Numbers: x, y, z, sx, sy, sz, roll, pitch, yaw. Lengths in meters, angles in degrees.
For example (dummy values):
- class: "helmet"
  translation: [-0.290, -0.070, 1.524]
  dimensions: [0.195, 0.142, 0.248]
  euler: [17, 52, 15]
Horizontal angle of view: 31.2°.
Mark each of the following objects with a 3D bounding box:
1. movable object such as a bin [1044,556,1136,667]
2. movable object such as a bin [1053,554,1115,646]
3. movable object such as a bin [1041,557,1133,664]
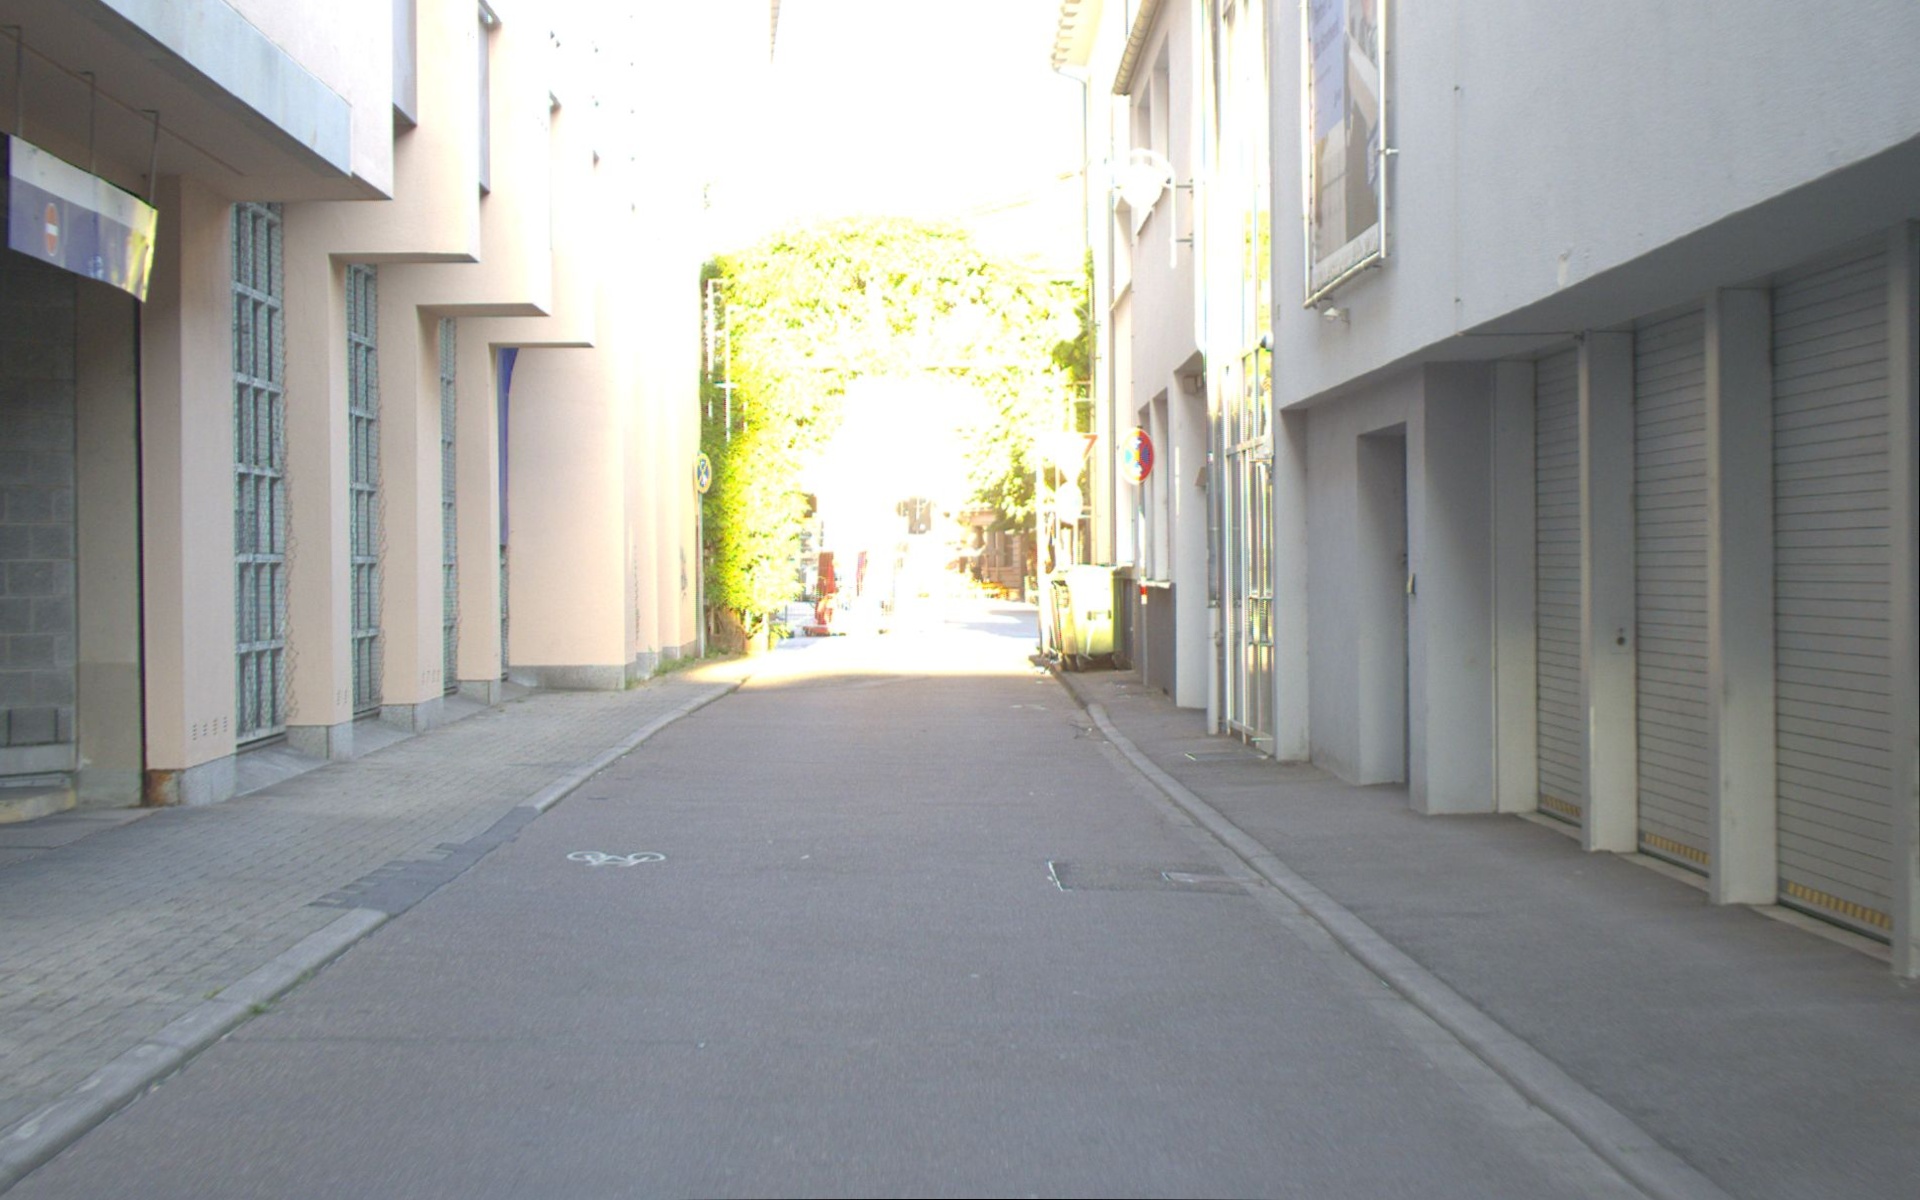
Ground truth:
- class: "movable object such as a bin"
  translation: [1.671, 0.138, 44.385]
  dimensions: [0.937, 1.362, 1.342]
  euler: [-3, 1, -6]
- class: "movable object such as a bin"
  translation: [1.822, -0.010, 50.440]
  dimensions: [0.836, 1.300, 1.290]
  euler: [-3, 1, 3]
- class: "movable object such as a bin"
  translation: [1.687, 0.129, 45.790]
  dimensions: [1.064, 1.362, 1.342]
  euler: [-3, 1, -2]
